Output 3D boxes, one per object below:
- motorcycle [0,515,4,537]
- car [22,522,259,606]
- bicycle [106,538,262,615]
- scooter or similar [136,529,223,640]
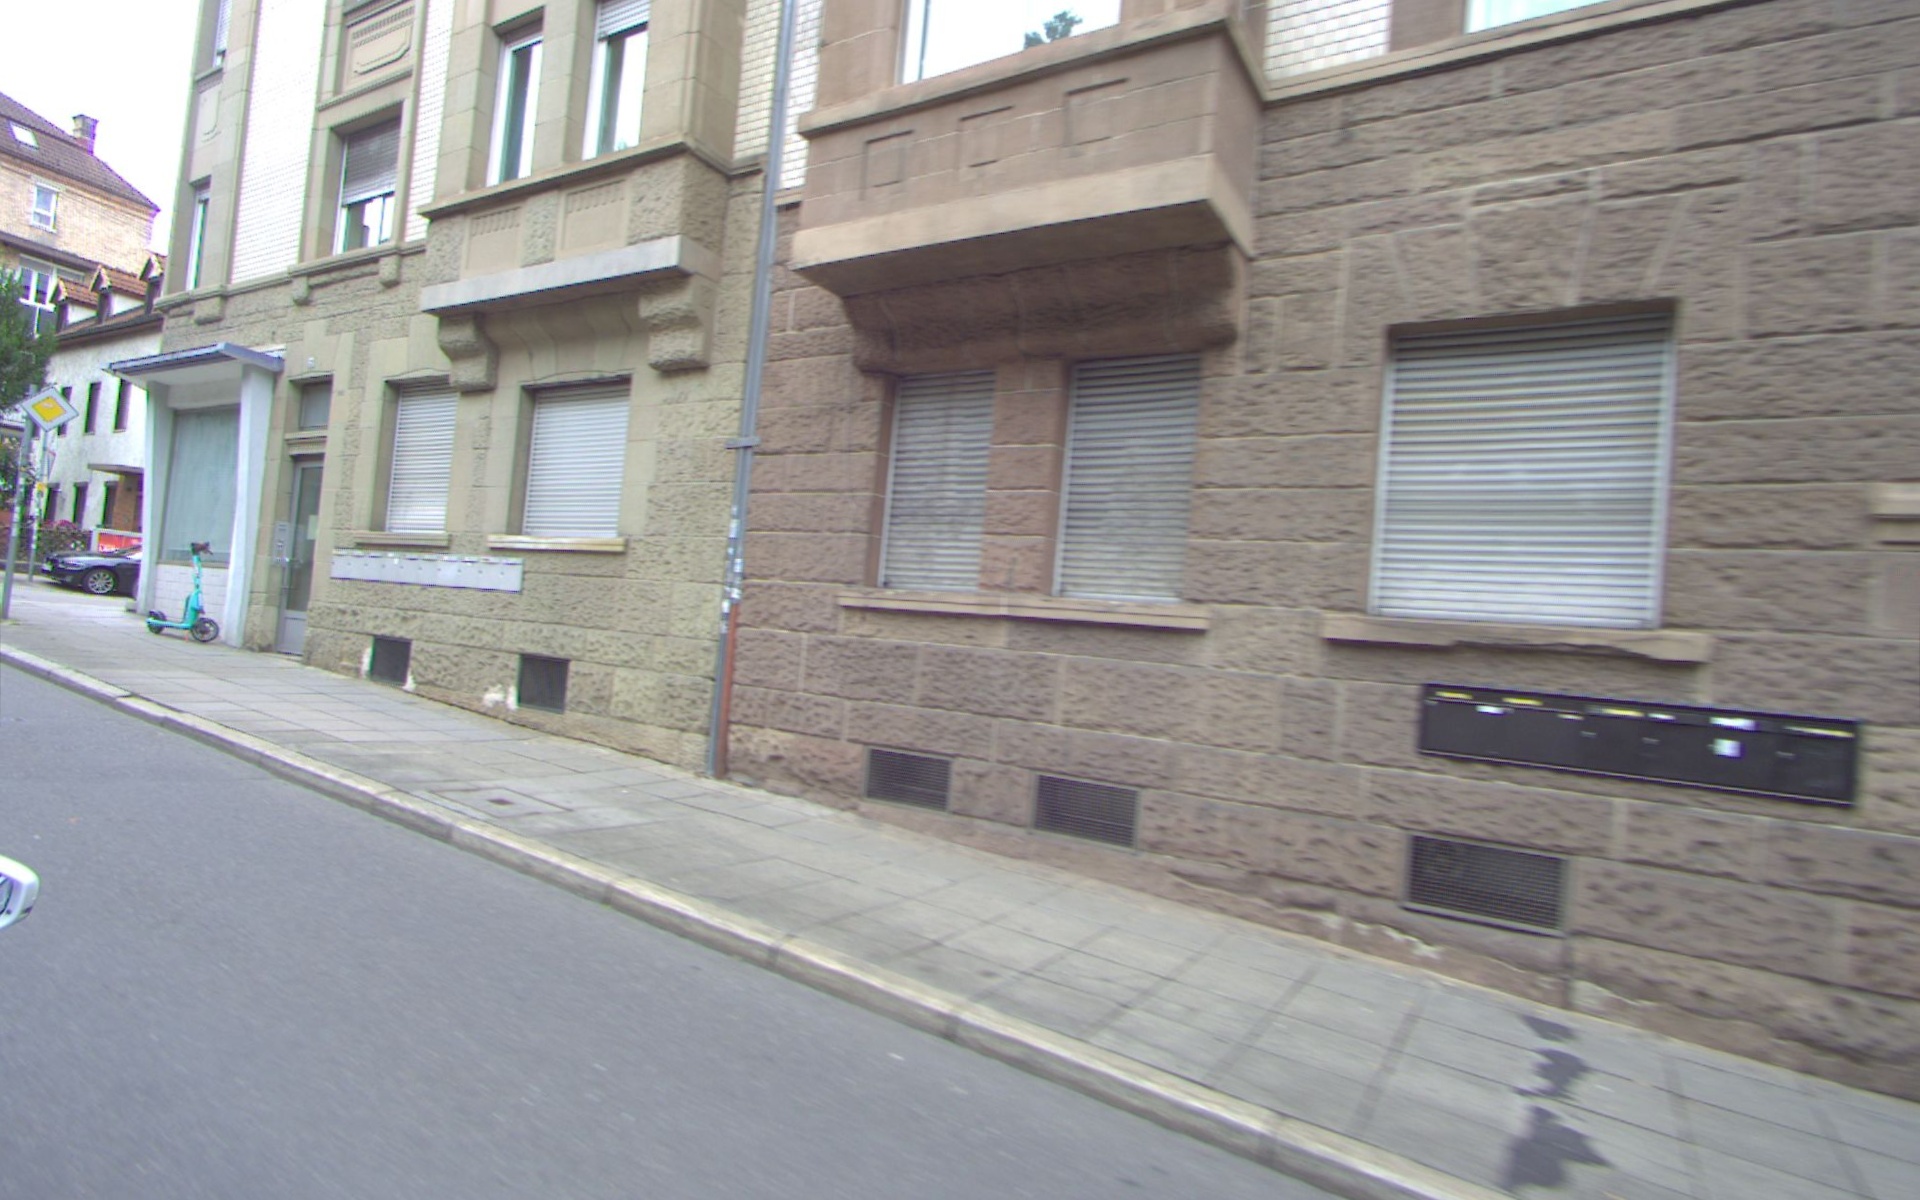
[{"bbox_3d":[-24.176,-1.577,23.691,0.992,1.281,2.063,7,-3,27],"label":"motorcycle"},{"bbox_3d":[-20.340,-0.849,25.166,1.752,1.300,4.136,10,-1,29],"label":"car"},{"bbox_3d":[-13.759,-0.399,17.900,2.040,1.152,0.641,4,-4,-13],"label":"bicycle"},{"bbox_3d":[-9.831,-0.204,12.660,1.126,1.226,0.410,10,3,31],"label":"scooter or similar"}]
